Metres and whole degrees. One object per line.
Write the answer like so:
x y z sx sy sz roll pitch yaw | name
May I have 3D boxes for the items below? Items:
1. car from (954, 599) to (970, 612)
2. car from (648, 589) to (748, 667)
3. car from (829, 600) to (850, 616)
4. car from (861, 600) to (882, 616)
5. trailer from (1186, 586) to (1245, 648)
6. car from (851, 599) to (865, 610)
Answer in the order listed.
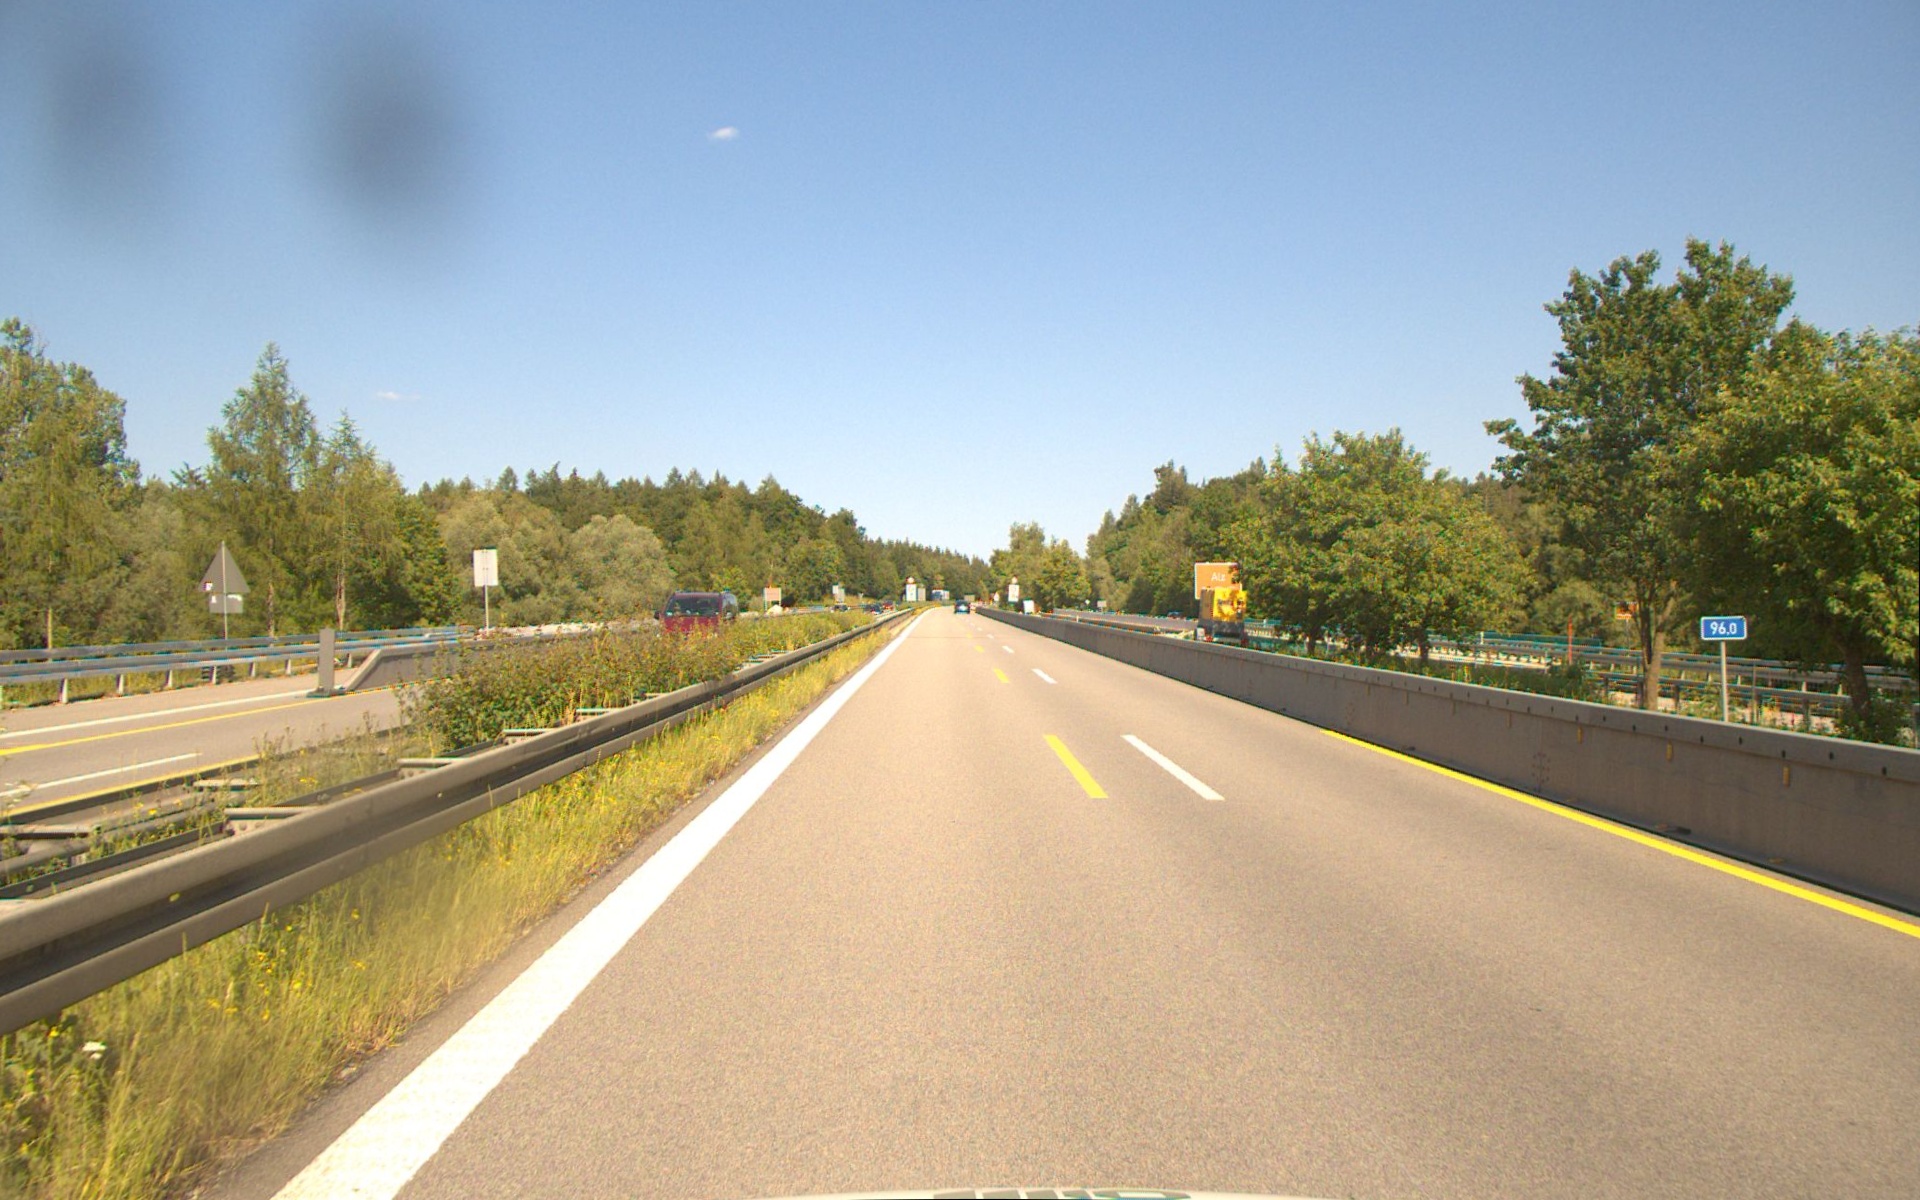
0.203 0.648 189.994 1.708 1.492 4.293 -1 0 -1 | car
-7.240 0.724 46.281 1.835 2.008 5.577 1 0 1 | car
-11.102 0.715 152.137 1.648 1.417 4.191 -1 0 -1 | car
-7.982 0.682 149.320 1.612 1.401 4.808 -1 0 0 | car
8.233 0.529 53.554 1.102 1.906 3.998 -1 0 -3 | trailer
-14.074 0.640 228.051 1.708 1.492 4.908 -1 0 -1 | car
